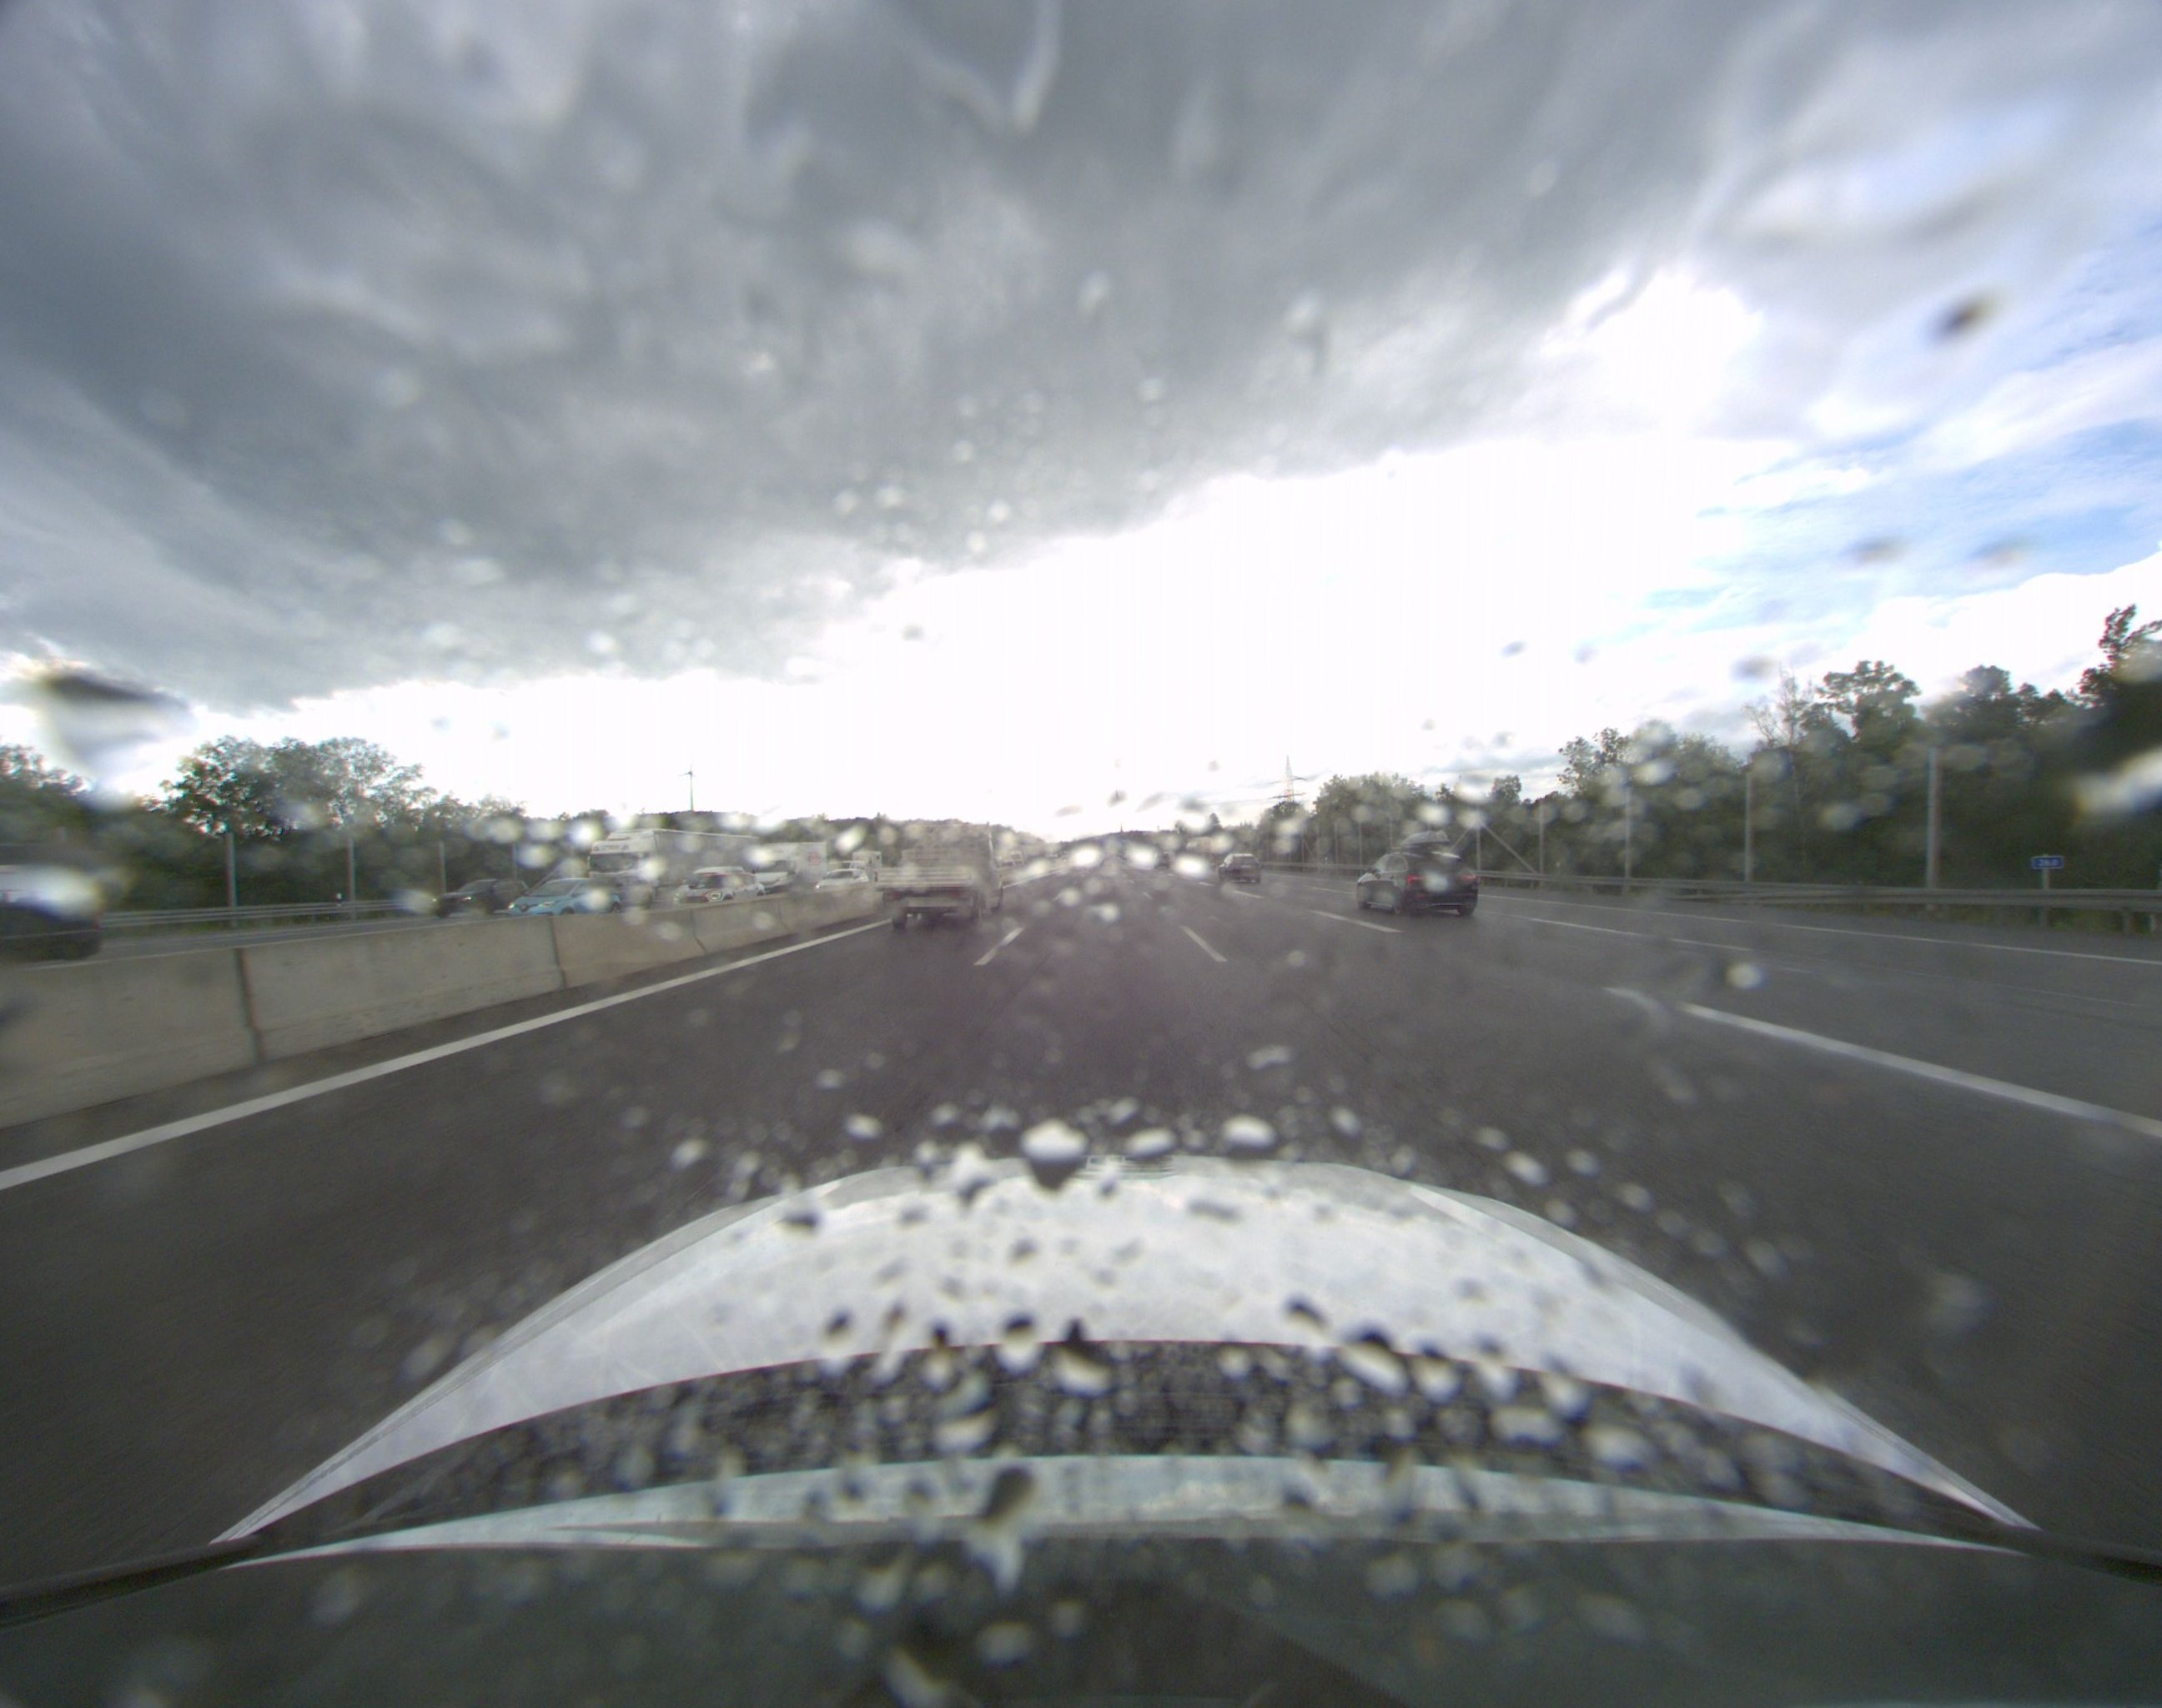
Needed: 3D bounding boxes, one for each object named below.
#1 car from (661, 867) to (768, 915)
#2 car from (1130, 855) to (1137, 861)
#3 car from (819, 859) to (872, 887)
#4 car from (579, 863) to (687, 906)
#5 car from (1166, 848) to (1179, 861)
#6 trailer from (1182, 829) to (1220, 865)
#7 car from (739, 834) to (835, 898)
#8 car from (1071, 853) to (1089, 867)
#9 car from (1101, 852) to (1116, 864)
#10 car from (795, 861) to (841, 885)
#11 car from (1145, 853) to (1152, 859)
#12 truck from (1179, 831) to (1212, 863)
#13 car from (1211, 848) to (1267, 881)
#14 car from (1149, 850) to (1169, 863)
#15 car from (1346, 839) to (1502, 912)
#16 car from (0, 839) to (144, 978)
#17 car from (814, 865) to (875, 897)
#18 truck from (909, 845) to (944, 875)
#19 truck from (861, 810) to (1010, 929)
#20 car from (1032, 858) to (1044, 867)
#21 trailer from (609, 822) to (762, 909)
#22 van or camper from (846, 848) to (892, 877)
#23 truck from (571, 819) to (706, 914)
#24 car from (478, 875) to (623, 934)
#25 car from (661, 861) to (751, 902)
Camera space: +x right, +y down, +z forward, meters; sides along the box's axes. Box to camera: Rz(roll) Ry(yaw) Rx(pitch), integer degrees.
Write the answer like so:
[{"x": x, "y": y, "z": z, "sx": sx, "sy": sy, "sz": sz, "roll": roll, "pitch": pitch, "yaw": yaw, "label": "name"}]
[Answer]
[{"x": -13.082, "y": 1.273, "z": 29.381, "sx": 1.752, "sy": 1.498, "sz": 4.395, "roll": -1, "pitch": 0, "yaw": 2, "label": "car"}, {"x": 15.264, "y": 1.272, "z": 237.226, "sx": 2.037, "sy": 1.699, "sz": 4.003, "roll": -1, "pitch": 0, "yaw": 3, "label": "car"}, {"x": -16.401, "y": 1.295, "z": 56.987, "sx": 1.851, "sy": 1.824, "sz": 5.667, "roll": 0, "pitch": 0, "yaw": 2, "label": "car"}, {"x": -19.861, "y": 1.287, "z": 36.437, "sx": 1.706, "sy": 1.667, "sz": 5.319, "roll": -1, "pitch": 0, "yaw": 2, "label": "car"}, {"x": 17.379, "y": 0.108, "z": 154.199, "sx": 2.037, "sy": 2.498, "sz": 4.002, "roll": -1, "pitch": 0, "yaw": 2, "label": "car"}, {"x": 14.829, "y": -0.828, "z": 101.565, "sx": 3.320, "sy": 4.175, "sz": 11.843, "roll": 0, "pitch": 0, "yaw": 2, "label": "trailer"}, {"x": -16.568, "y": 0.606, "z": 46.493, "sx": 2.488, "sy": 3.300, "sz": 7.630, "roll": -1, "pitch": 0, "yaw": 2, "label": "car"}, {"x": -0.116, "y": 0.723, "z": 102.227, "sx": 2.037, "sy": 1.699, "sz": 4.002, "roll": -1, "pitch": 0, "yaw": 2, "label": "car"}, {"x": 3.903, "y": 0.584, "z": 117.452, "sx": 2.038, "sy": 1.699, "sz": 4.001, "roll": -1, "pitch": 0, "yaw": 1, "label": "car"}, {"x": -19.771, "y": 1.394, "z": 61.292, "sx": 1.985, "sy": 1.708, "sz": 4.002, "roll": -1, "pitch": 0, "yaw": 2, "label": "car"}, {"x": 20.736, "y": 0.675, "z": 249.087, "sx": 1.986, "sy": 1.750, "sz": 4.498, "roll": -1, "pitch": 0, "yaw": 2, "label": "car"}, {"x": 15.032, "y": -0.932, "z": 107.516, "sx": 3.320, "sy": 4.080, "sz": 8.275, "roll": 0, "pitch": 0, "yaw": 2, "label": "truck"}, {"x": 8.913, "y": 0.574, "z": 46.296, "sx": 2.039, "sy": 1.699, "sz": 5.003, "roll": -2, "pitch": -1, "yaw": -1, "label": "car"}, {"x": 10.114, "y": 0.305, "z": 105.296, "sx": 2.092, "sy": 1.699, "sz": 3.998, "roll": -1, "pitch": 0, "yaw": -2, "label": "car"}, {"x": 8.547, "y": 0.502, "z": 20.883, "sx": 2.096, "sy": 1.606, "sz": 5.070, "roll": -1, "pitch": -1, "yaw": 3, "label": "car"}, {"x": -21.022, "y": 1.020, "z": 13.529, "sx": 2.263, "sy": 2.546, "sz": 7.359, "roll": -1, "pitch": 0, "yaw": 1, "label": "car"}, {"x": -12.467, "y": 1.362, "z": 43.236, "sx": 1.636, "sy": 1.493, "sz": 4.936, "roll": -1, "pitch": 0, "yaw": 2, "label": "car"}, {"x": -18.849, "y": 0.646, "z": 99.896, "sx": 2.718, "sy": 3.513, "sz": 6.803, "roll": -1, "pitch": 0, "yaw": 2, "label": "truck"}, {"x": -3.295, "y": 0.294, "z": 20.269, "sx": 2.345, "sy": 2.408, "sz": 7.357, "roll": 0, "pitch": 0, "yaw": 0, "label": "truck"}, {"x": -8.402, "y": 1.634, "z": 159.634, "sx": 1.887, "sy": 1.624, "sz": 4.847, "roll": 0, "pitch": 0, "yaw": 2, "label": "car"}, {"x": -24.688, "y": 0.602, "z": 52.147, "sx": 3.136, "sy": 4.856, "sz": 13.295, "roll": -1, "pitch": 0, "yaw": 0, "label": "trailer"}, {"x": -16.382, "y": 0.612, "z": 63.109, "sx": 2.087, "sy": 2.186, "sz": 4.973, "roll": -1, "pitch": 0, "yaw": 2, "label": "van or camper"}, {"x": -24.705, "y": 0.609, "z": 46.077, "sx": 3.136, "sy": 4.856, "sz": 8.027, "roll": -1, "pitch": 0, "yaw": 0, "label": "truck"}, {"x": -17.140, "y": 1.558, "z": 26.612, "sx": 1.795, "sy": 1.622, "sz": 4.282, "roll": -1, "pitch": 0, "yaw": 2, "label": "car"}, {"x": -16.836, "y": 1.183, "z": 36.883, "sx": 1.706, "sy": 1.667, "sz": 4.798, "roll": -1, "pitch": 0, "yaw": 2, "label": "car"}]
